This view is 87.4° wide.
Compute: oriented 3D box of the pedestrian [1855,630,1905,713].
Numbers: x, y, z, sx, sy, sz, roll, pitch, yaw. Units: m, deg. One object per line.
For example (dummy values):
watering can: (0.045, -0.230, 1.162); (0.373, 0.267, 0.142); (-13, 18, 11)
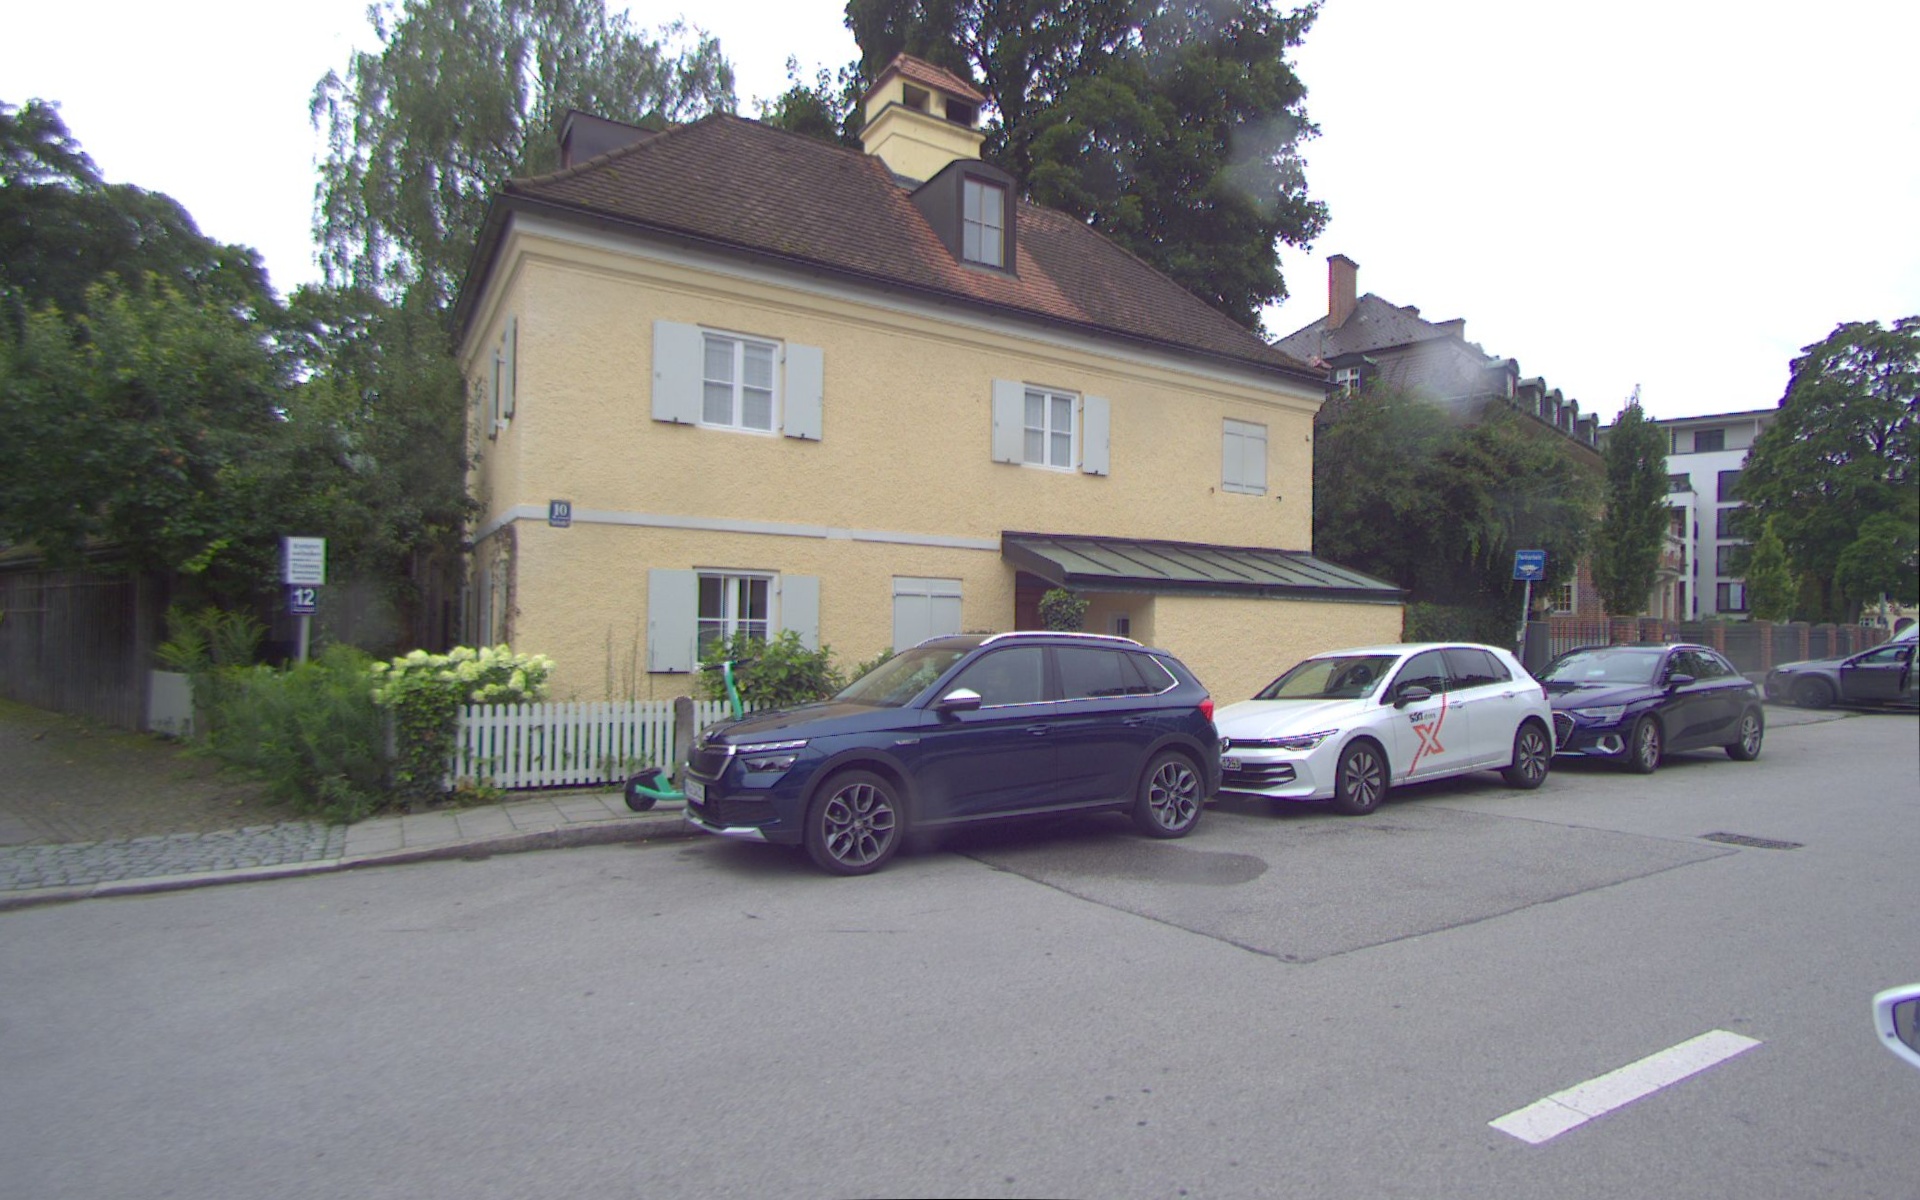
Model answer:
pedestrian: (18.847, 1.455, 20.574); (0.708, 1.669, 0.585); (3, -4, -37)

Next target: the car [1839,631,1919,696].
car: (26.062, 1.656, 26.084); (4.443, 1.646, 1.965); (-2, -4, 26)

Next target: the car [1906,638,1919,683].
car: (33.158, 1.917, 31.643); (4.440, 1.470, 1.977); (-1, -2, 23)

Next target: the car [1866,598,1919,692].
car: (28.509, 1.229, 27.819); (4.551, 2.597, 2.232); (-1, -2, 26)

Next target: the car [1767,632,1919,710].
car: (19.916, 1.495, 21.213); (1.921, 1.550, 4.289); (4, -3, -43)

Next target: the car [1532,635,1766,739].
car: (11.673, 1.402, 16.976); (4.103, 1.555, 1.732); (1, -4, -32)

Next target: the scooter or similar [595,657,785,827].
scooter or similar: (-2.104, 1.066, 7.868); (1.355, 1.204, 0.450); (1, 0, -30)

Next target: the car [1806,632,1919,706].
car: (22.243, 1.534, 22.649); (4.443, 1.614, 1.964); (-2, -3, 26)

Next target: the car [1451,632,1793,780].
car: (8.357, 1.216, 12.581); (4.511, 1.555, 1.836); (1, -4, -32)

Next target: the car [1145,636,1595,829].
car: (4.186, 1.168, 10.083); (4.468, 1.555, 1.837); (1, -4, -31)

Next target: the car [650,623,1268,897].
car: (0.089, 1.028, 7.653); (4.389, 1.555, 1.837); (2, -4, -30)
